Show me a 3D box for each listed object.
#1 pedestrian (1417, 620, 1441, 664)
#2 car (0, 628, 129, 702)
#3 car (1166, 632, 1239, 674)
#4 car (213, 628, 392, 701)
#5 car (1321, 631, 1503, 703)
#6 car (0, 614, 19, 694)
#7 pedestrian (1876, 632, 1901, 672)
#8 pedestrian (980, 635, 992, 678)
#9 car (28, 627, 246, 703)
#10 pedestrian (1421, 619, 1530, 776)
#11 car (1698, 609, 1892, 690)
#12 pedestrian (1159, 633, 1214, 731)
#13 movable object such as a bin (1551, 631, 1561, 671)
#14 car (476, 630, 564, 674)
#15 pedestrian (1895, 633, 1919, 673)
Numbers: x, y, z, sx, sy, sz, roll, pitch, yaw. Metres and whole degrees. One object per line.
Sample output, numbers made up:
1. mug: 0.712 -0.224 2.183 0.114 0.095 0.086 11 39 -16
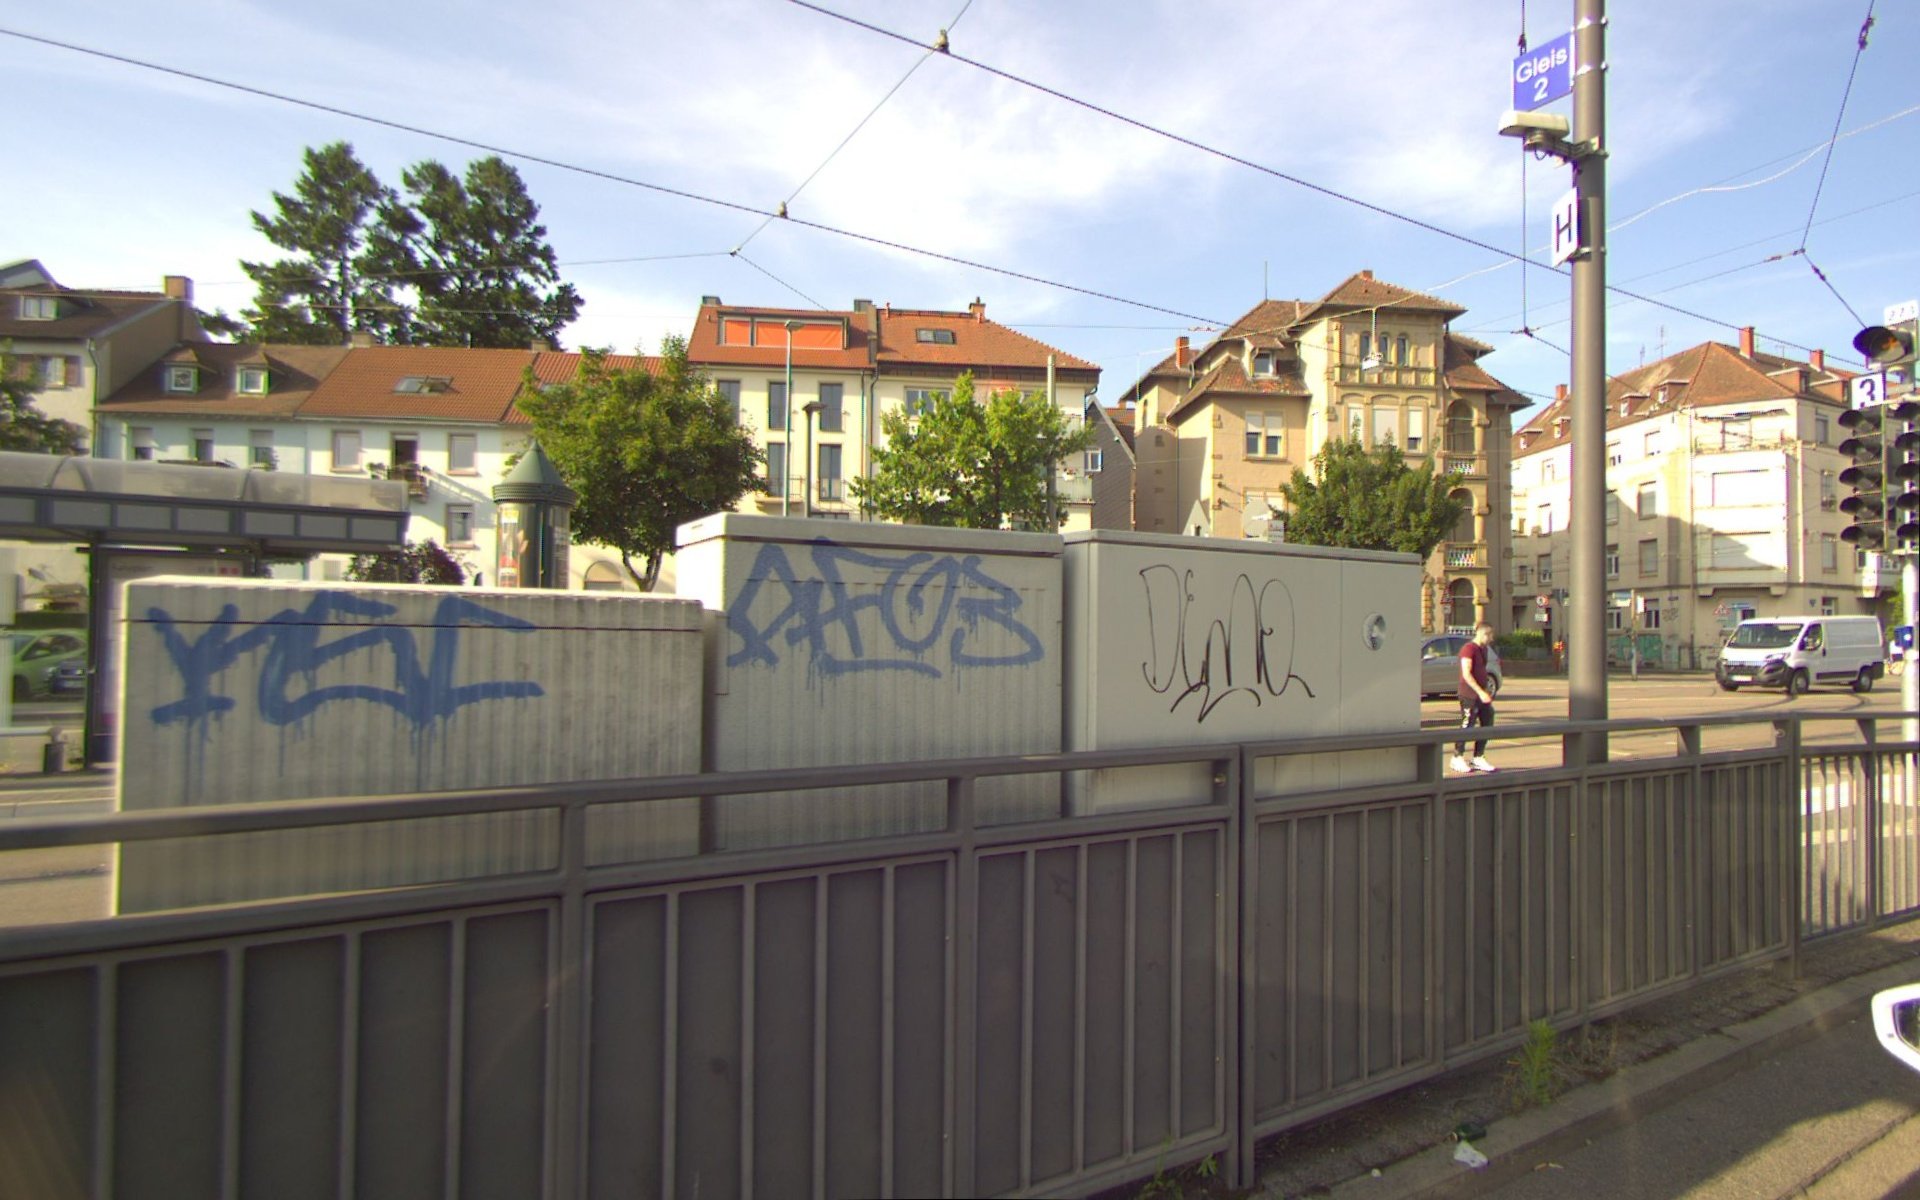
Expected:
1. pedestrian: 18.021 1.613 38.626 0.592 1.673 0.681 1 -2 -3
2. car: -19.940 1.325 21.287 1.740 1.447 3.995 1 -2 -9
3. car: 9.907 2.140 41.288 1.742 1.653 3.998 0 -2 -5
4. car: -14.260 1.363 22.074 1.740 1.447 3.995 1 -2 -9
5. car: 10.674 1.533 23.703 4.067 1.546 1.672 0 -2 -25
6. car: -22.113 1.143 20.878 1.822 1.777 3.993 1 -2 -11
7. pedestrian: 44.025 2.452 47.620 0.617 1.905 0.658 1 -2 -20
8. pedestrian: 0.926 2.021 36.007 0.382 1.535 0.405 1 -2 -4
9. car: -17.212 1.331 21.281 1.740 1.447 3.995 1 -2 -9
10. pedestrian: 5.862 1.079 11.449 0.663 1.692 0.877 1 -2 -28
11. car: 24.820 1.451 29.871 5.174 2.268 2.174 1 -2 -21
12. pedestrian: 3.836 1.369 16.987 0.708 1.610 0.586 2 -2 -34
13. movable object such as a bin: 26.628 2.265 44.887 0.259 1.732 2.379 -1 -2 29
14. car: -16.604 1.941 38.126 1.821 1.578 3.998 1 -2 -4
15. pedestrian: 44.205 2.464 46.807 0.640 1.872 0.673 1 -2 -23
